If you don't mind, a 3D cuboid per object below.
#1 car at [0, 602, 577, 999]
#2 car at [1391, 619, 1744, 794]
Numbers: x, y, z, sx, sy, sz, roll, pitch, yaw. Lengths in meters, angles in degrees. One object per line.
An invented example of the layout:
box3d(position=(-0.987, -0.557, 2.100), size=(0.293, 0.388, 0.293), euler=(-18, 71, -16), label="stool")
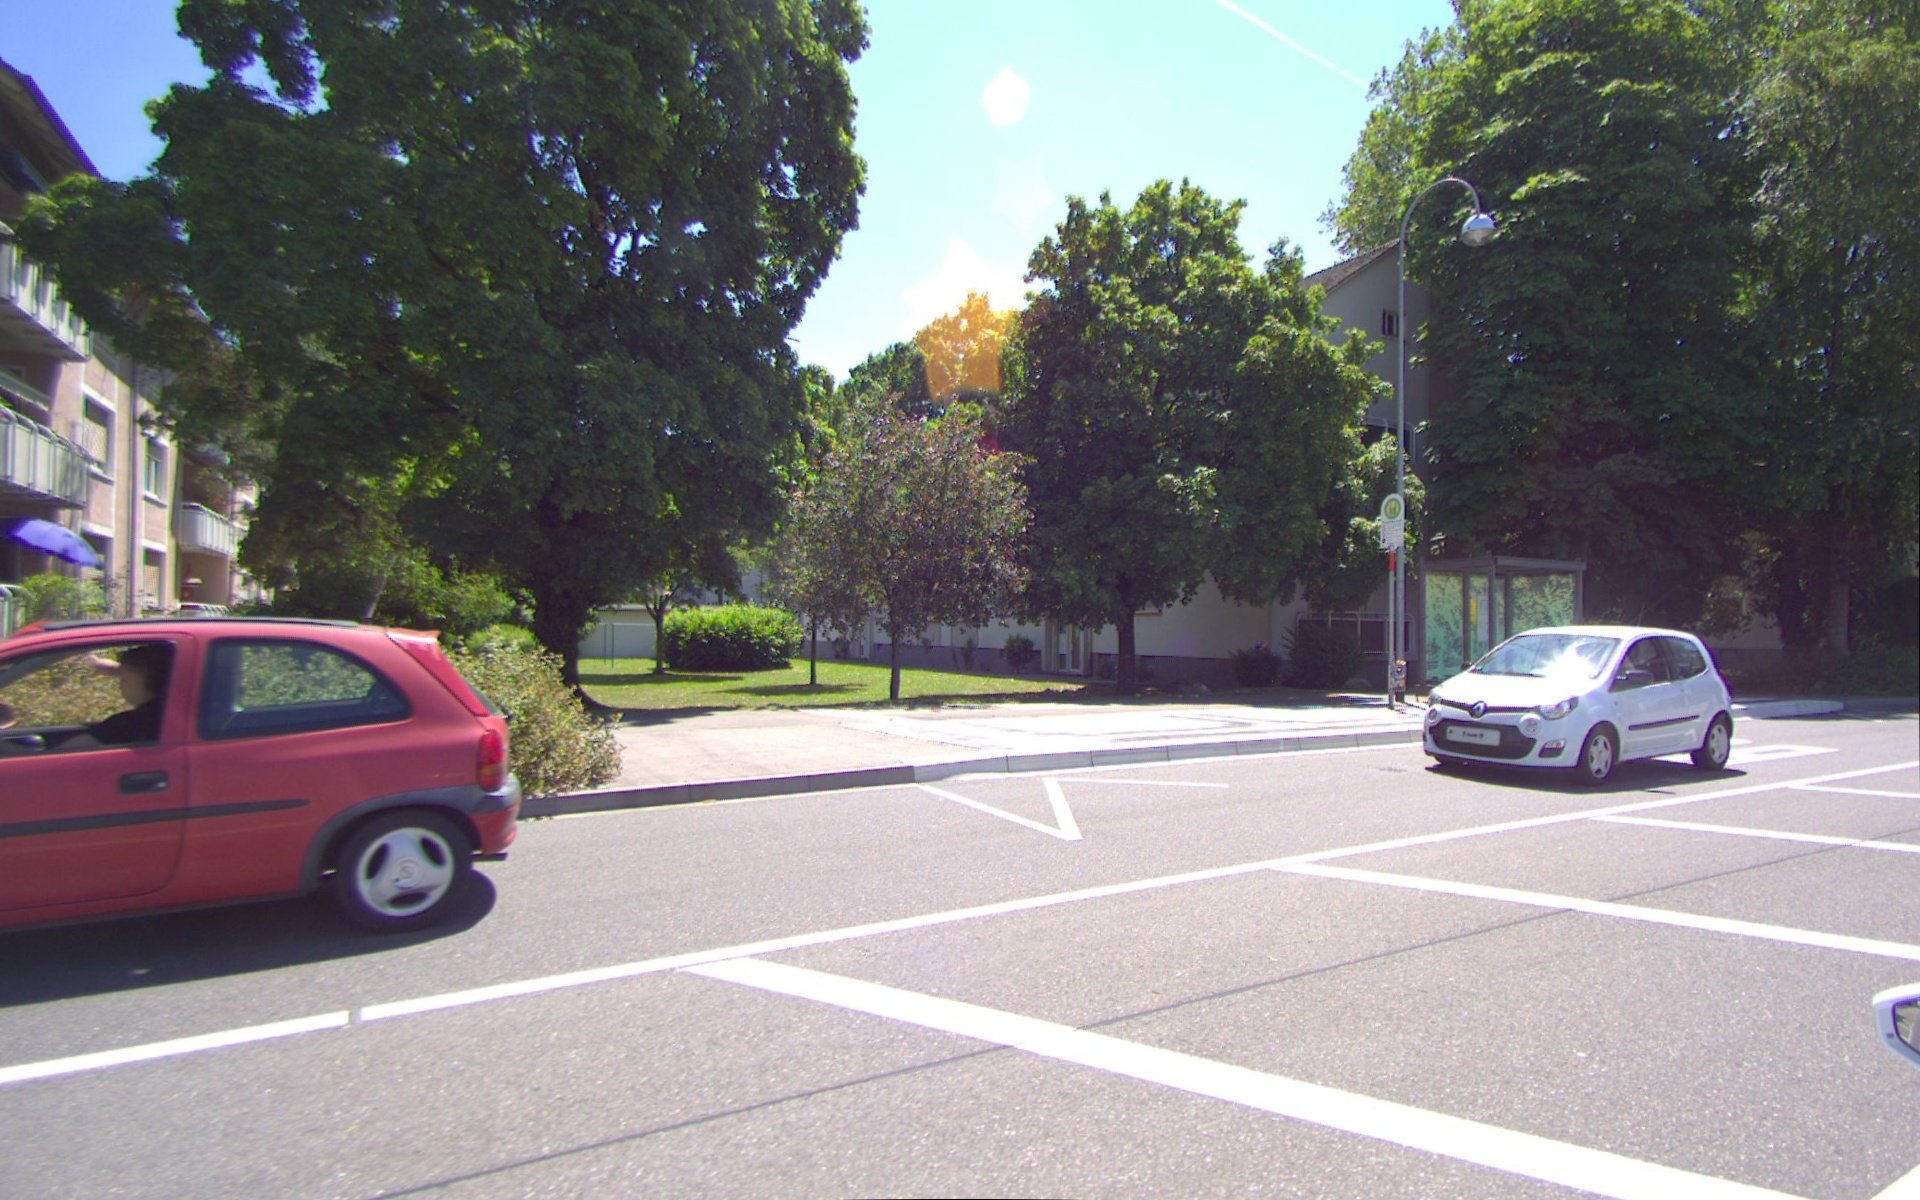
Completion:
box3d(position=(-3.794, 0.760, 4.533), size=(3.648, 1.470, 1.542), euler=(1, 0, -31), label="car")
box3d(position=(6.400, 0.972, 10.520), size=(3.597, 1.479, 1.682), euler=(0, 0, -31), label="car")
